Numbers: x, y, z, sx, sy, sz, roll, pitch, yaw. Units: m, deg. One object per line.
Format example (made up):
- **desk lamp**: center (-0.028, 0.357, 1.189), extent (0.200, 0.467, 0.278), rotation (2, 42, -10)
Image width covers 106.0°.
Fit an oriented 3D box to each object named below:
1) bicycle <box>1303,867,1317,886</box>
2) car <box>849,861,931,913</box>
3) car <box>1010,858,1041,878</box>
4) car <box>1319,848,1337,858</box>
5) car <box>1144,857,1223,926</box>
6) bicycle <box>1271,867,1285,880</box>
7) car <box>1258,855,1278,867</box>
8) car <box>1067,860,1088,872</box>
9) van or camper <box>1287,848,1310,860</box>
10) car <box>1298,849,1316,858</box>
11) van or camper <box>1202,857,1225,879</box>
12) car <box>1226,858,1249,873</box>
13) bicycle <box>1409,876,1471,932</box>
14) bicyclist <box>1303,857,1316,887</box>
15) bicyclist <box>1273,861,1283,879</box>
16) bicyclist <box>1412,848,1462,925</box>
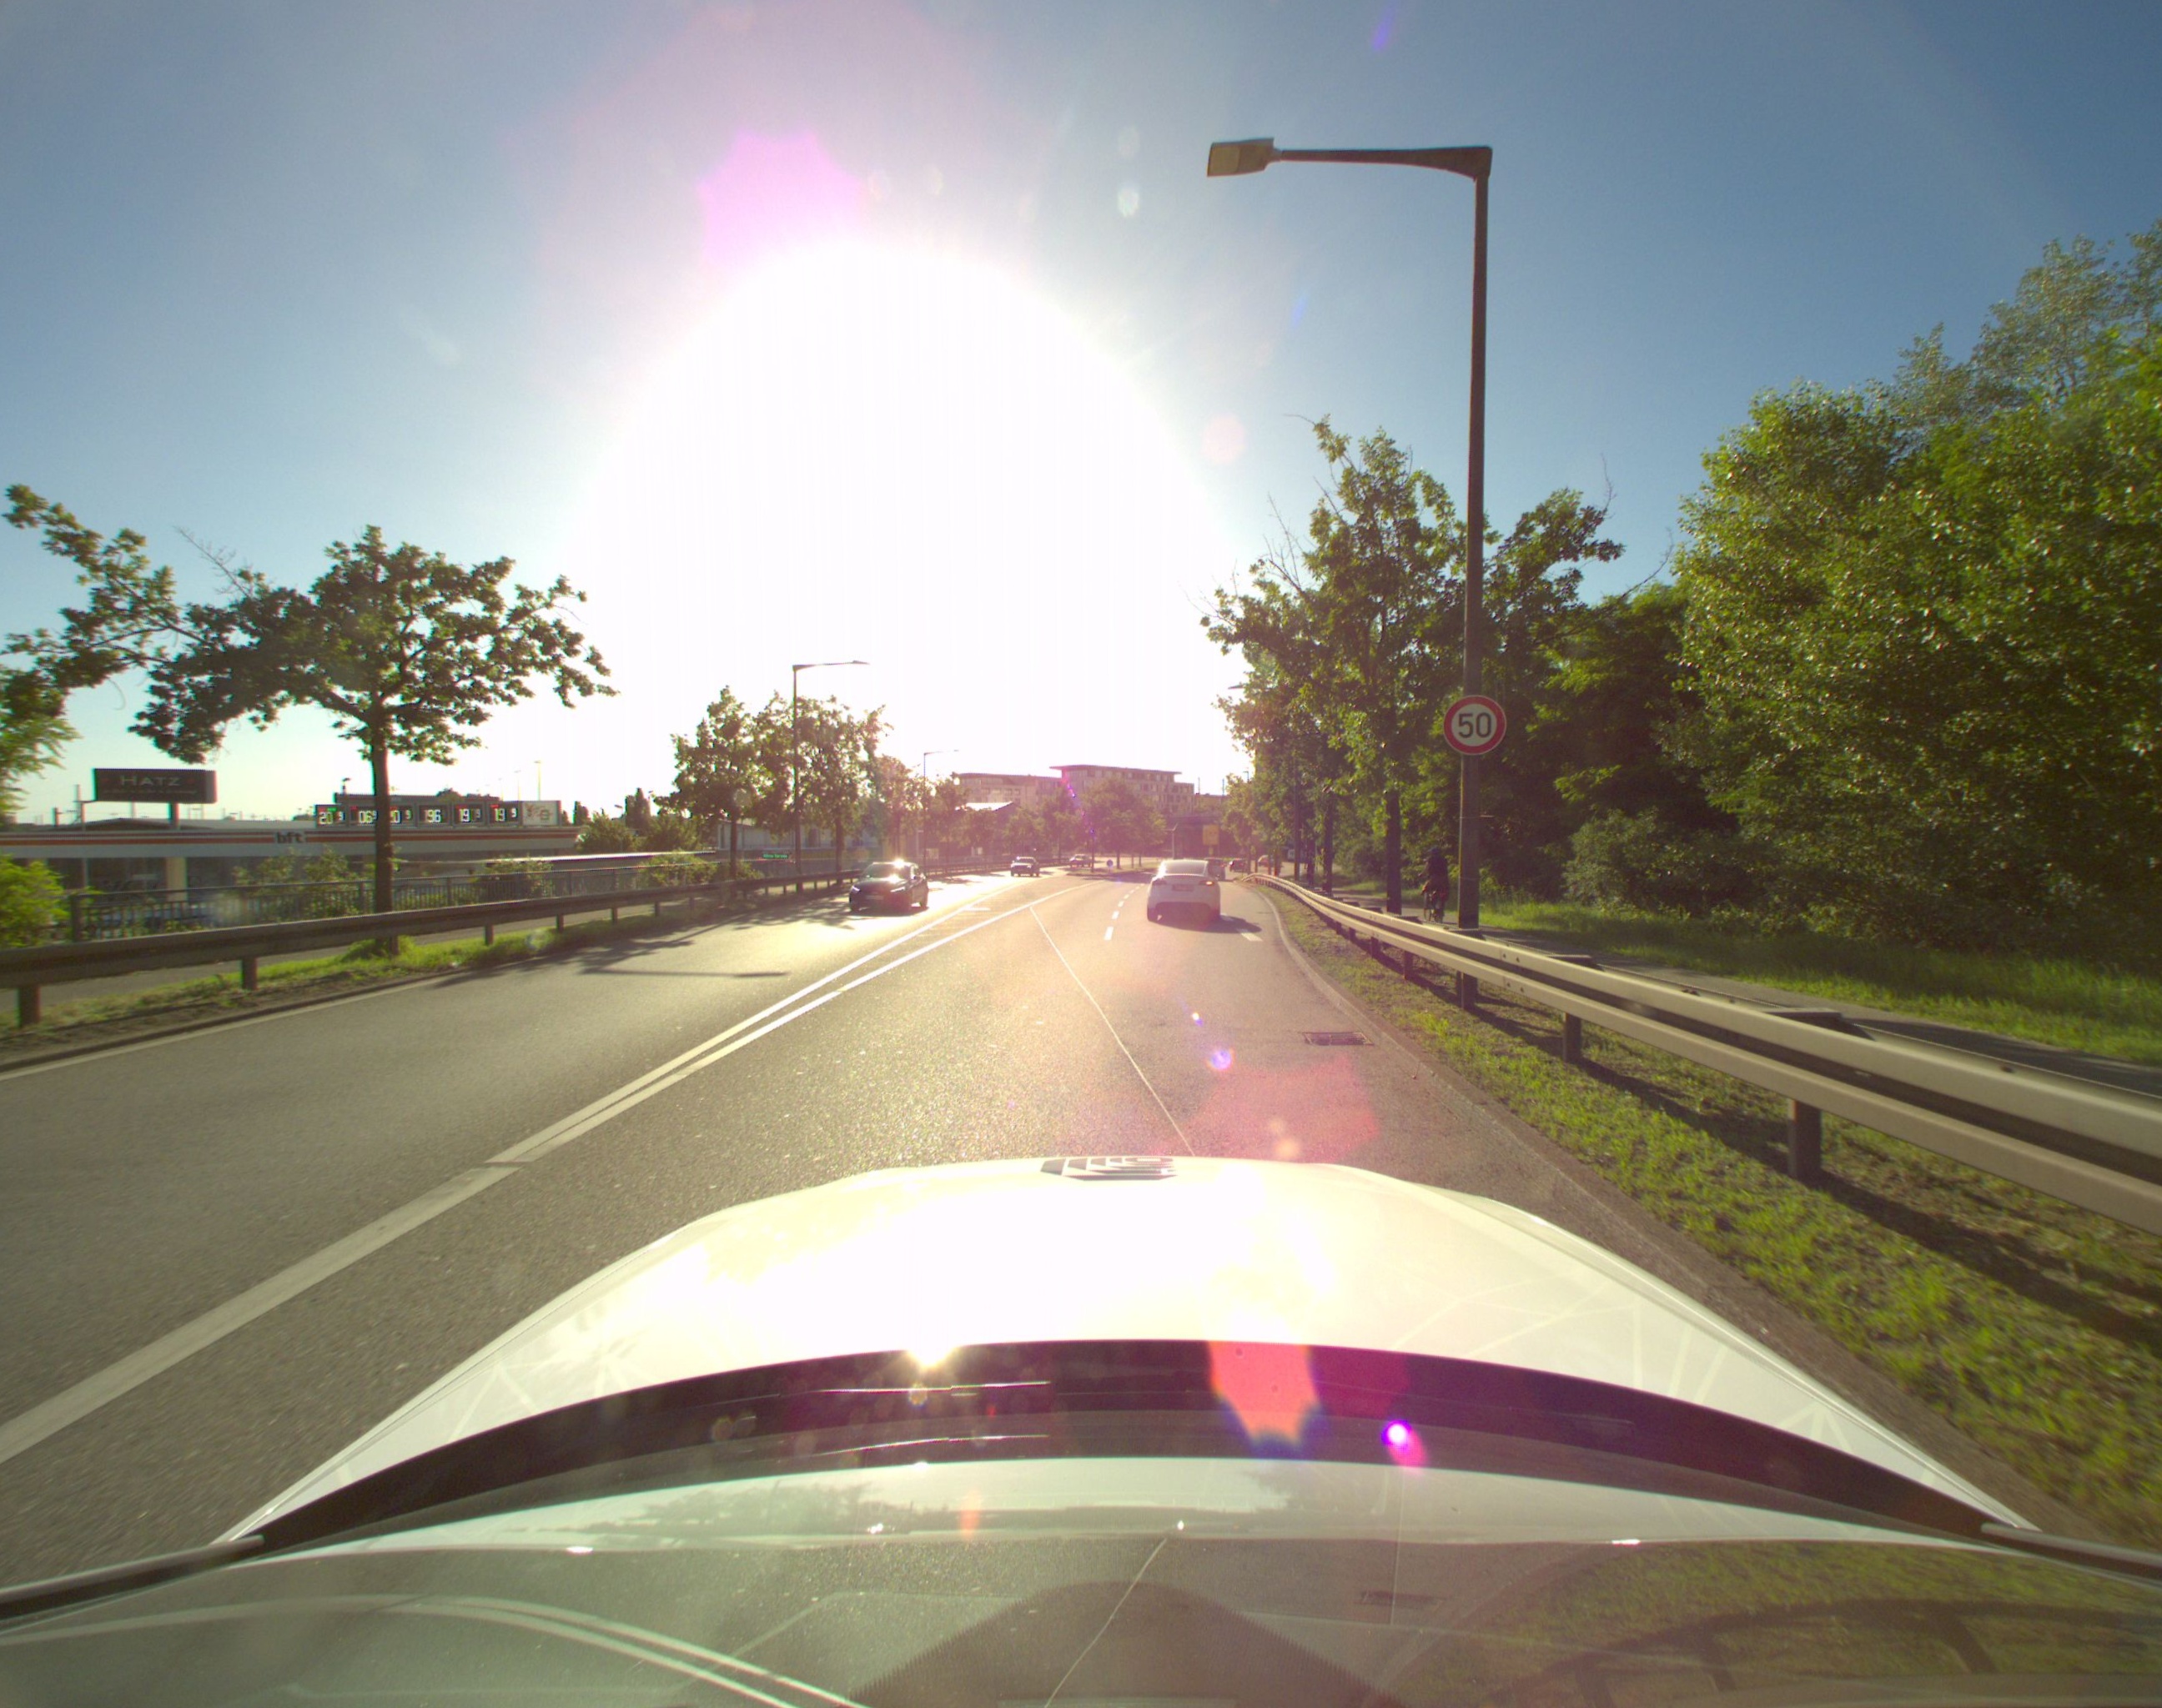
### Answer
- **bicycle**: center (13.887, 1.337, 49.257), extent (0.689, 1.095, 2.128), rotation (-2, 0, 18)
- **car**: center (-5.831, 0.968, 25.326), extent (1.659, 1.445, 3.848), rotation (-1, 0, -1)
- **car**: center (-4.383, 1.124, 65.397), extent (1.753, 1.489, 4.284), rotation (1, 0, 6)
- **car**: center (43.255, -0.184, 142.656), extent (1.691, 1.522, 3.767), rotation (1, 2, 38)
- **car**: center (2.931, 0.944, 22.509), extent (1.902, 1.641, 4.423), rotation (-2, 0, 10)
- **bicycle**: center (18.209, 1.805, 75.246), extent (0.736, 1.112, 2.465), rotation (-2, 0, 23)
- **car**: center (24.896, 0.889, 108.436), extent (1.747, 1.475, 4.314), rotation (1, 1, 25)
- **car**: center (-0.385, 1.387, 95.943), extent (1.719, 1.385, 4.509), rotation (1, 0, 10)
- **van or camper**: center (32.836, -0.030, 123.008), extent (1.808, 1.790, 4.574), rotation (2, 2, 36)
- **car**: center (39.597, -0.066, 142.833), extent (1.691, 1.522, 3.767), rotation (1, 2, 38)
- **van or camper**: center (11.721, 1.169, 71.859), extent (1.946, 1.884, 4.894), rotation (0, 0, 10)
- **car**: center (17.882, 1.306, 92.976), extent (1.589, 1.434, 3.701), rotation (2, 3, 28)
- **bicycle**: center (7.570, 1.028, 17.267), extent (0.696, 1.074, 1.926), rotation (-2, 0, 9)
- **bicyclist**: center (13.707, 1.057, 48.827), extent (0.670, 1.776, 0.952), rotation (-2, 0, 18)
- **bicyclist**: center (18.183, 1.452, 75.225), extent (0.739, 1.619, 0.918), rotation (-2, 0, 23)
- **bicyclist**: center (7.575, 0.673, 17.356), extent (0.703, 1.578, 1.007), rotation (-2, 0, 9)
